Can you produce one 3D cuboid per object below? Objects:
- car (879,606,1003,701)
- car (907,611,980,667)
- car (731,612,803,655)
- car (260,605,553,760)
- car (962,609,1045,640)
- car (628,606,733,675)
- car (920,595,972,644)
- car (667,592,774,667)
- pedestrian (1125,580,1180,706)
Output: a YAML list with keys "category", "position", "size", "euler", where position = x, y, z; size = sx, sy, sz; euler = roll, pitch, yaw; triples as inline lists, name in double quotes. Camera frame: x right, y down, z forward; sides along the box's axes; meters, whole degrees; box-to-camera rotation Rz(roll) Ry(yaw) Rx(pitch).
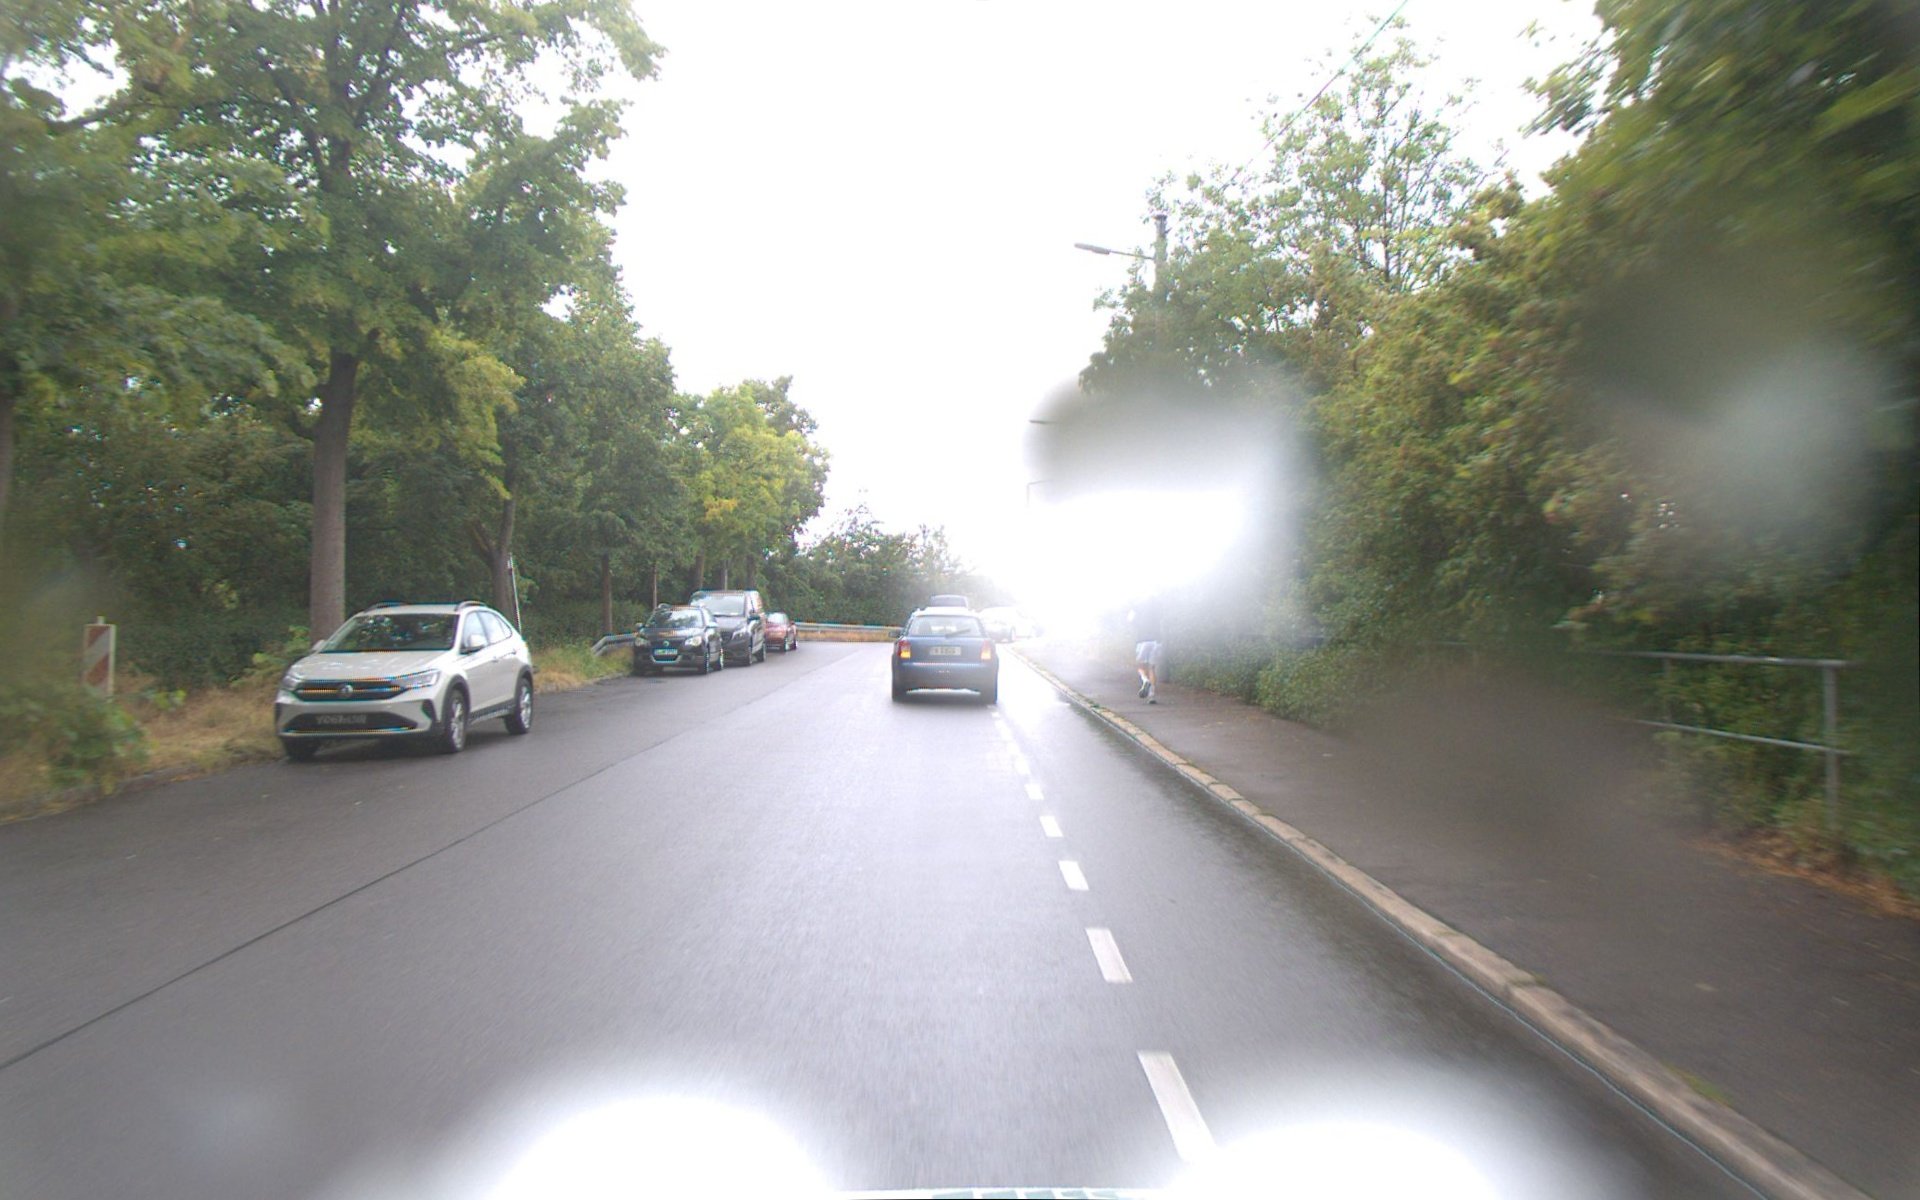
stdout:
- category: "car"
  position: [-0.389, 0.887, 27.445]
  size: [1.713, 1.432, 3.994]
  euler: [-1, -2, -6]
- category: "car"
  position: [-0.410, 1.013, 43.922]
  size: [1.852, 1.413, 3.999]
  euler: [0, -1, 0]
- category: "car"
  position: [-6.320, 1.088, 54.556]
  size: [1.752, 1.320, 4.326]
  euler: [-1, -1, 2]
- category: "car"
  position: [-5.831, 0.817, 17.967]
  size: [1.654, 1.463, 4.256]
  euler: [-1, -1, 1]
- category: "car"
  position: [1.873, 1.036, 69.471]
  size: [1.789, 1.223, 3.775]
  euler: [-2, -1, 33]
- category: "car"
  position: [-6.307, 0.905, 37.741]
  size: [1.761, 1.463, 4.254]
  euler: [-1, -1, -2]
- category: "car"
  position: [-0.519, 0.703, 59.378]
  size: [1.785, 1.645, 3.784]
  euler: [-1, -1, -2]
- category: "car"
  position: [-6.244, 0.768, 43.716]
  size: [2.041, 1.851, 5.380]
  euler: [-1, -1, 0]
- category: "pedestrian"
  position: [2.953, 0.653, 25.440]
  size: [0.702, 1.867, 1.021]
  euler: [-2, -1, 1]
